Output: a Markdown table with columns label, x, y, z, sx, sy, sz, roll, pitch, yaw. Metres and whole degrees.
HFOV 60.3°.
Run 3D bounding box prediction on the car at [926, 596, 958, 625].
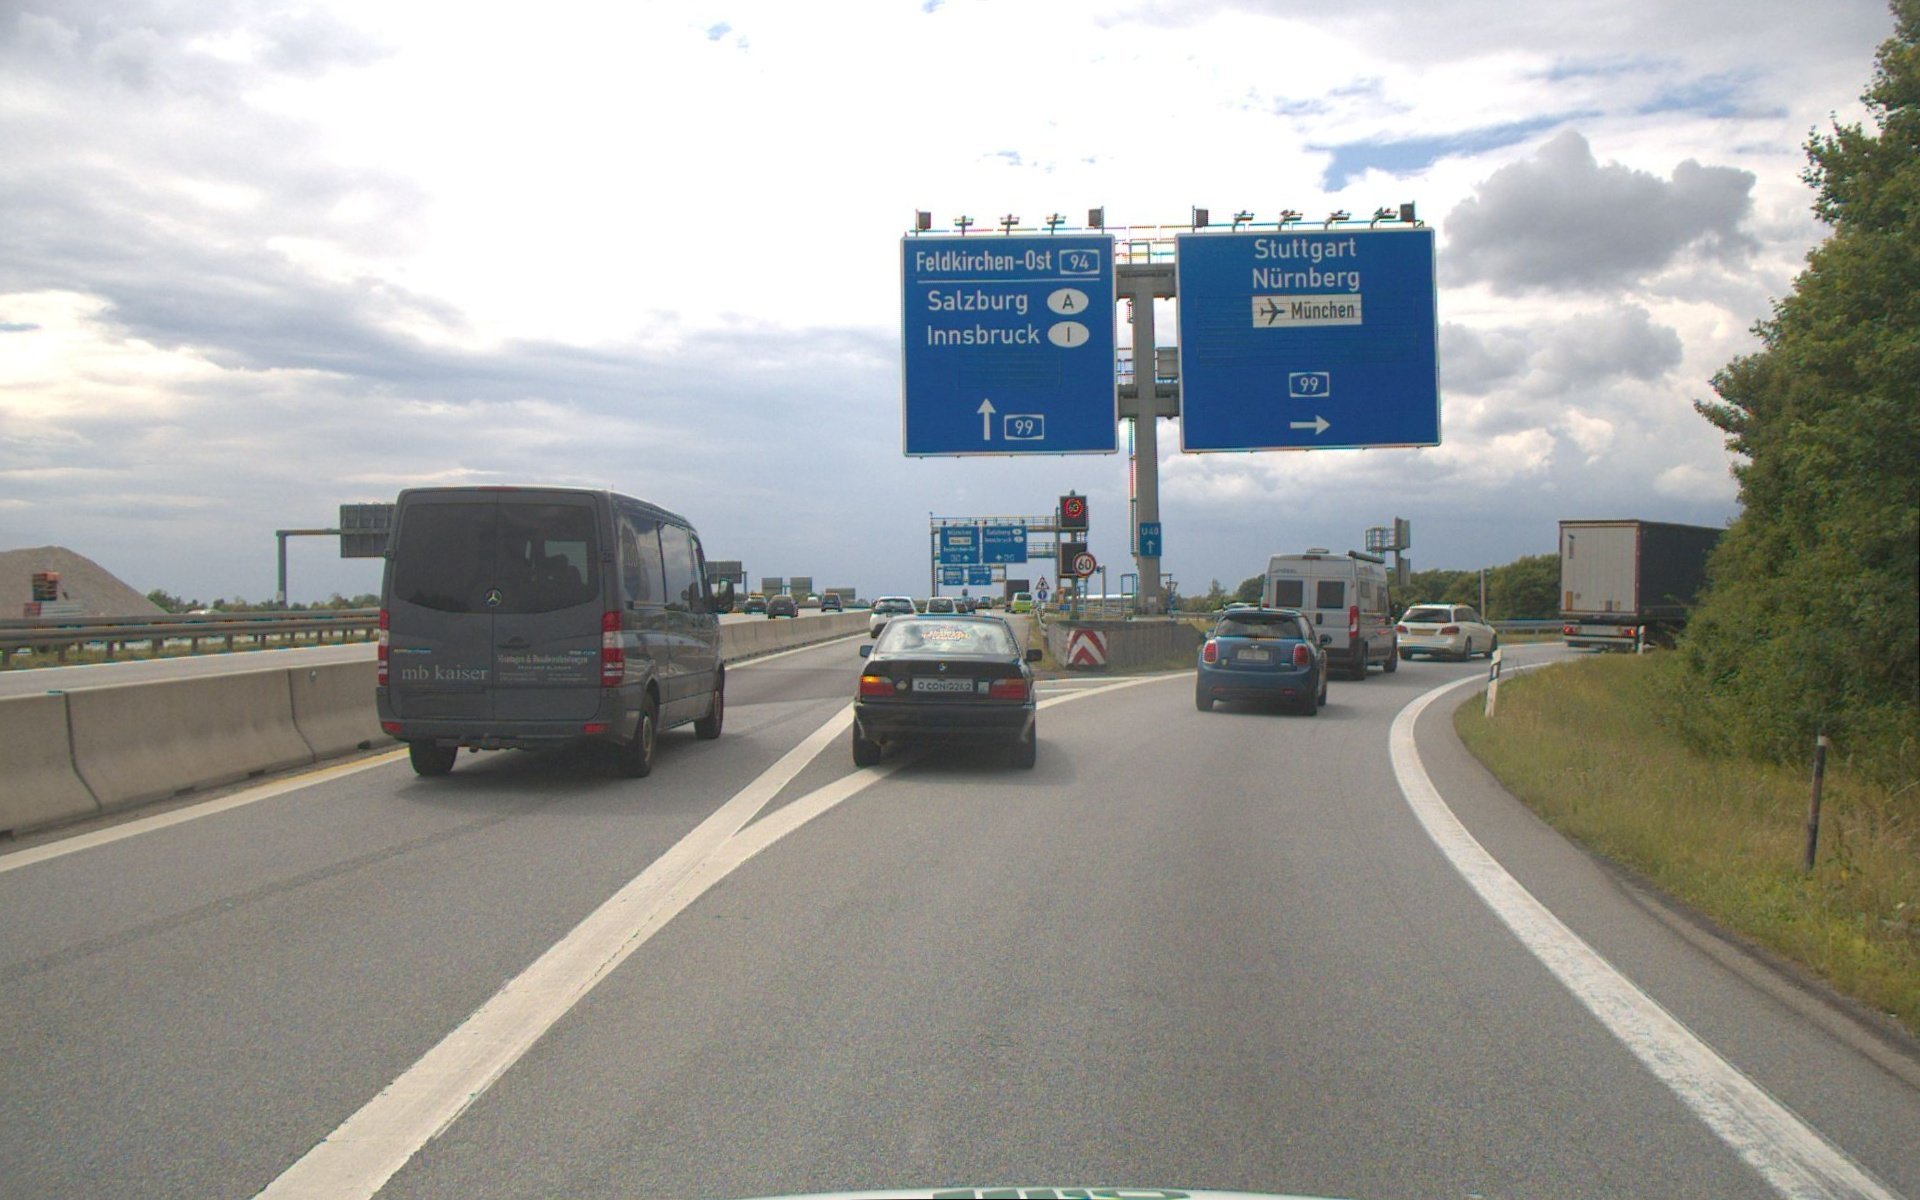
| label | x | y | z | sx | sy | sz | roll | pitch | yaw |
| --- | --- | --- | --- | --- | --- | --- | --- | --- | --- |
| car | -0.922 | 0.534 | 85.900 | 1.552 | 1.510 | 3.535 | 0 | 0 | 1 |

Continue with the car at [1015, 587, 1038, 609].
| label | x | y | z | sx | sy | sz | roll | pitch | yaw |
| --- | --- | --- | --- | --- | --- | --- | --- | --- | --- |
| car | 6.268 | -0.167 | 156.480 | 1.953 | 2.049 | 3.999 | 0 | 0 | -1 |

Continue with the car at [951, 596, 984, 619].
| label | x | y | z | sx | sy | sz | roll | pitch | yaw |
| --- | --- | --- | --- | --- | --- | --- | --- | --- | --- |
| car | 0.498 | 0.477 | 110.637 | 1.951 | 1.494 | 4.002 | 0 | 0 | 4 |

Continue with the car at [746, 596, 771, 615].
| label | x | y | z | sx | sy | sz | roll | pitch | yaw |
| --- | --- | --- | --- | --- | --- | --- | --- | --- | --- |
| car | -15.966 | 0.424 | 131.321 | 1.521 | 1.400 | 4.000 | 0 | 0 | 0 |

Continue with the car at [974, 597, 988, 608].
| label | x | y | z | sx | sy | sz | roll | pitch | yaw |
| --- | --- | --- | --- | --- | --- | --- | --- | --- | --- |
| car | 2.876 | 0.287 | 225.571 | 1.765 | 1.449 | 4.001 | 0 | 0 | 2 |

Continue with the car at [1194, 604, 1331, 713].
| label | x | y | z | sx | sy | sz | roll | pitch | yaw |
| --- | --- | --- | --- | --- | --- | --- | --- | --- | --- |
| car | 4.509 | 0.807 | 24.306 | 1.692 | 1.444 | 3.668 | 1 | 0 | 15 |

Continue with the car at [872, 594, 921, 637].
| label | x | y | z | sx | sy | sz | roll | pitch | yaw |
| --- | --- | --- | --- | --- | --- | --- | --- | --- | --- |
| car | -2.298 | 0.547 | 60.399 | 1.666 | 1.534 | 3.840 | 0 | 0 | 0 |

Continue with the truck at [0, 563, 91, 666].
| label | x | y | z | sx | sy | sz | roll | pitch | yaw |
| --- | --- | --- | --- | --- | --- | --- | --- | --- | --- |
| truck | -23.638 | 0.337 | 39.787 | 2.230 | 2.411 | 6.200 | 0 | 0 | -1 |

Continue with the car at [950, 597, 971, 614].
| label | x | y | z | sx | sy | sz | roll | pitch | yaw |
| --- | --- | --- | --- | --- | --- | --- | --- | --- | --- |
| car | 0.041 | 0.477 | 149.475 | 1.827 | 1.449 | 4.001 | 0 | 0 | 1 |

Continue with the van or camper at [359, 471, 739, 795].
| label | x | y | z | sx | sy | sz | roll | pitch | yaw |
| --- | --- | --- | --- | --- | --- | --- | --- | --- | --- |
| van or camper | -3.475 | 0.239 | 15.406 | 1.958 | 2.412 | 6.126 | 0 | 0 | 1 |

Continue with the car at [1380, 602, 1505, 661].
| label | x | y | z | sx | sy | sz | roll | pitch | yaw |
| --- | --- | --- | --- | --- | --- | --- | --- | --- | --- |
| car | 13.271 | 0.819 | 45.328 | 2.165 | 1.527 | 4.777 | 0 | 0 | 31 |

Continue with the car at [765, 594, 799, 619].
| label | x | y | z | sx | sy | sz | roll | pitch | yaw |
| --- | --- | --- | --- | --- | --- | --- | --- | --- | --- |
| car | -11.447 | 0.418 | 106.567 | 1.737 | 1.557 | 4.000 | 0 | 0 | 0 |

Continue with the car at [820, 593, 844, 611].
| label | x | y | z | sx | sy | sz | roll | pitch | yaw |
| --- | --- | --- | --- | --- | --- | --- | --- | --- | --- |
| car | -12.524 | 0.195 | 161.771 | 1.952 | 1.713 | 4.866 | 0 | 0 | 1 |

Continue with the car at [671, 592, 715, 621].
| label | x | y | z | sx | sy | sz | roll | pitch | yaw |
| --- | --- | --- | --- | --- | --- | --- | --- | --- | --- |
| car | -15.678 | 0.368 | 97.351 | 1.862 | 1.667 | 4.233 | 1 | 0 | 0 |

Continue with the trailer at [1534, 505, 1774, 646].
| label | x | y | z | sx | sy | sz | roll | pitch | yaw |
| --- | --- | --- | --- | --- | --- | --- | --- | --- | --- |
| trailer | 23.722 | -0.729 | 55.908 | 3.283 | 4.266 | 12.947 | 0 | 0 | 43 |

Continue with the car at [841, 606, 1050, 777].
| label | x | y | z | sx | sy | sz | roll | pitch | yaw |
| --- | --- | --- | --- | --- | --- | --- | --- | --- | --- |
| car | -0.083 | 0.771 | 15.905 | 1.745 | 1.402 | 4.137 | 0 | 0 | 1 |

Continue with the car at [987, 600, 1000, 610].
| label | x | y | z | sx | sy | sz | roll | pitch | yaw |
| --- | --- | --- | --- | --- | --- | --- | --- | --- | --- |
| car | 4.913 | 0.711 | 243.577 | 1.765 | 1.449 | 4.001 | 0 | 0 | 2 |

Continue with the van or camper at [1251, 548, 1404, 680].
| label | x | y | z | sx | sy | sz | roll | pitch | yaw |
| --- | --- | --- | --- | --- | --- | --- | --- | --- | --- |
| van or camper | 8.121 | 0.261 | 36.025 | 2.247 | 2.613 | 6.159 | 0 | 0 | 22 |
